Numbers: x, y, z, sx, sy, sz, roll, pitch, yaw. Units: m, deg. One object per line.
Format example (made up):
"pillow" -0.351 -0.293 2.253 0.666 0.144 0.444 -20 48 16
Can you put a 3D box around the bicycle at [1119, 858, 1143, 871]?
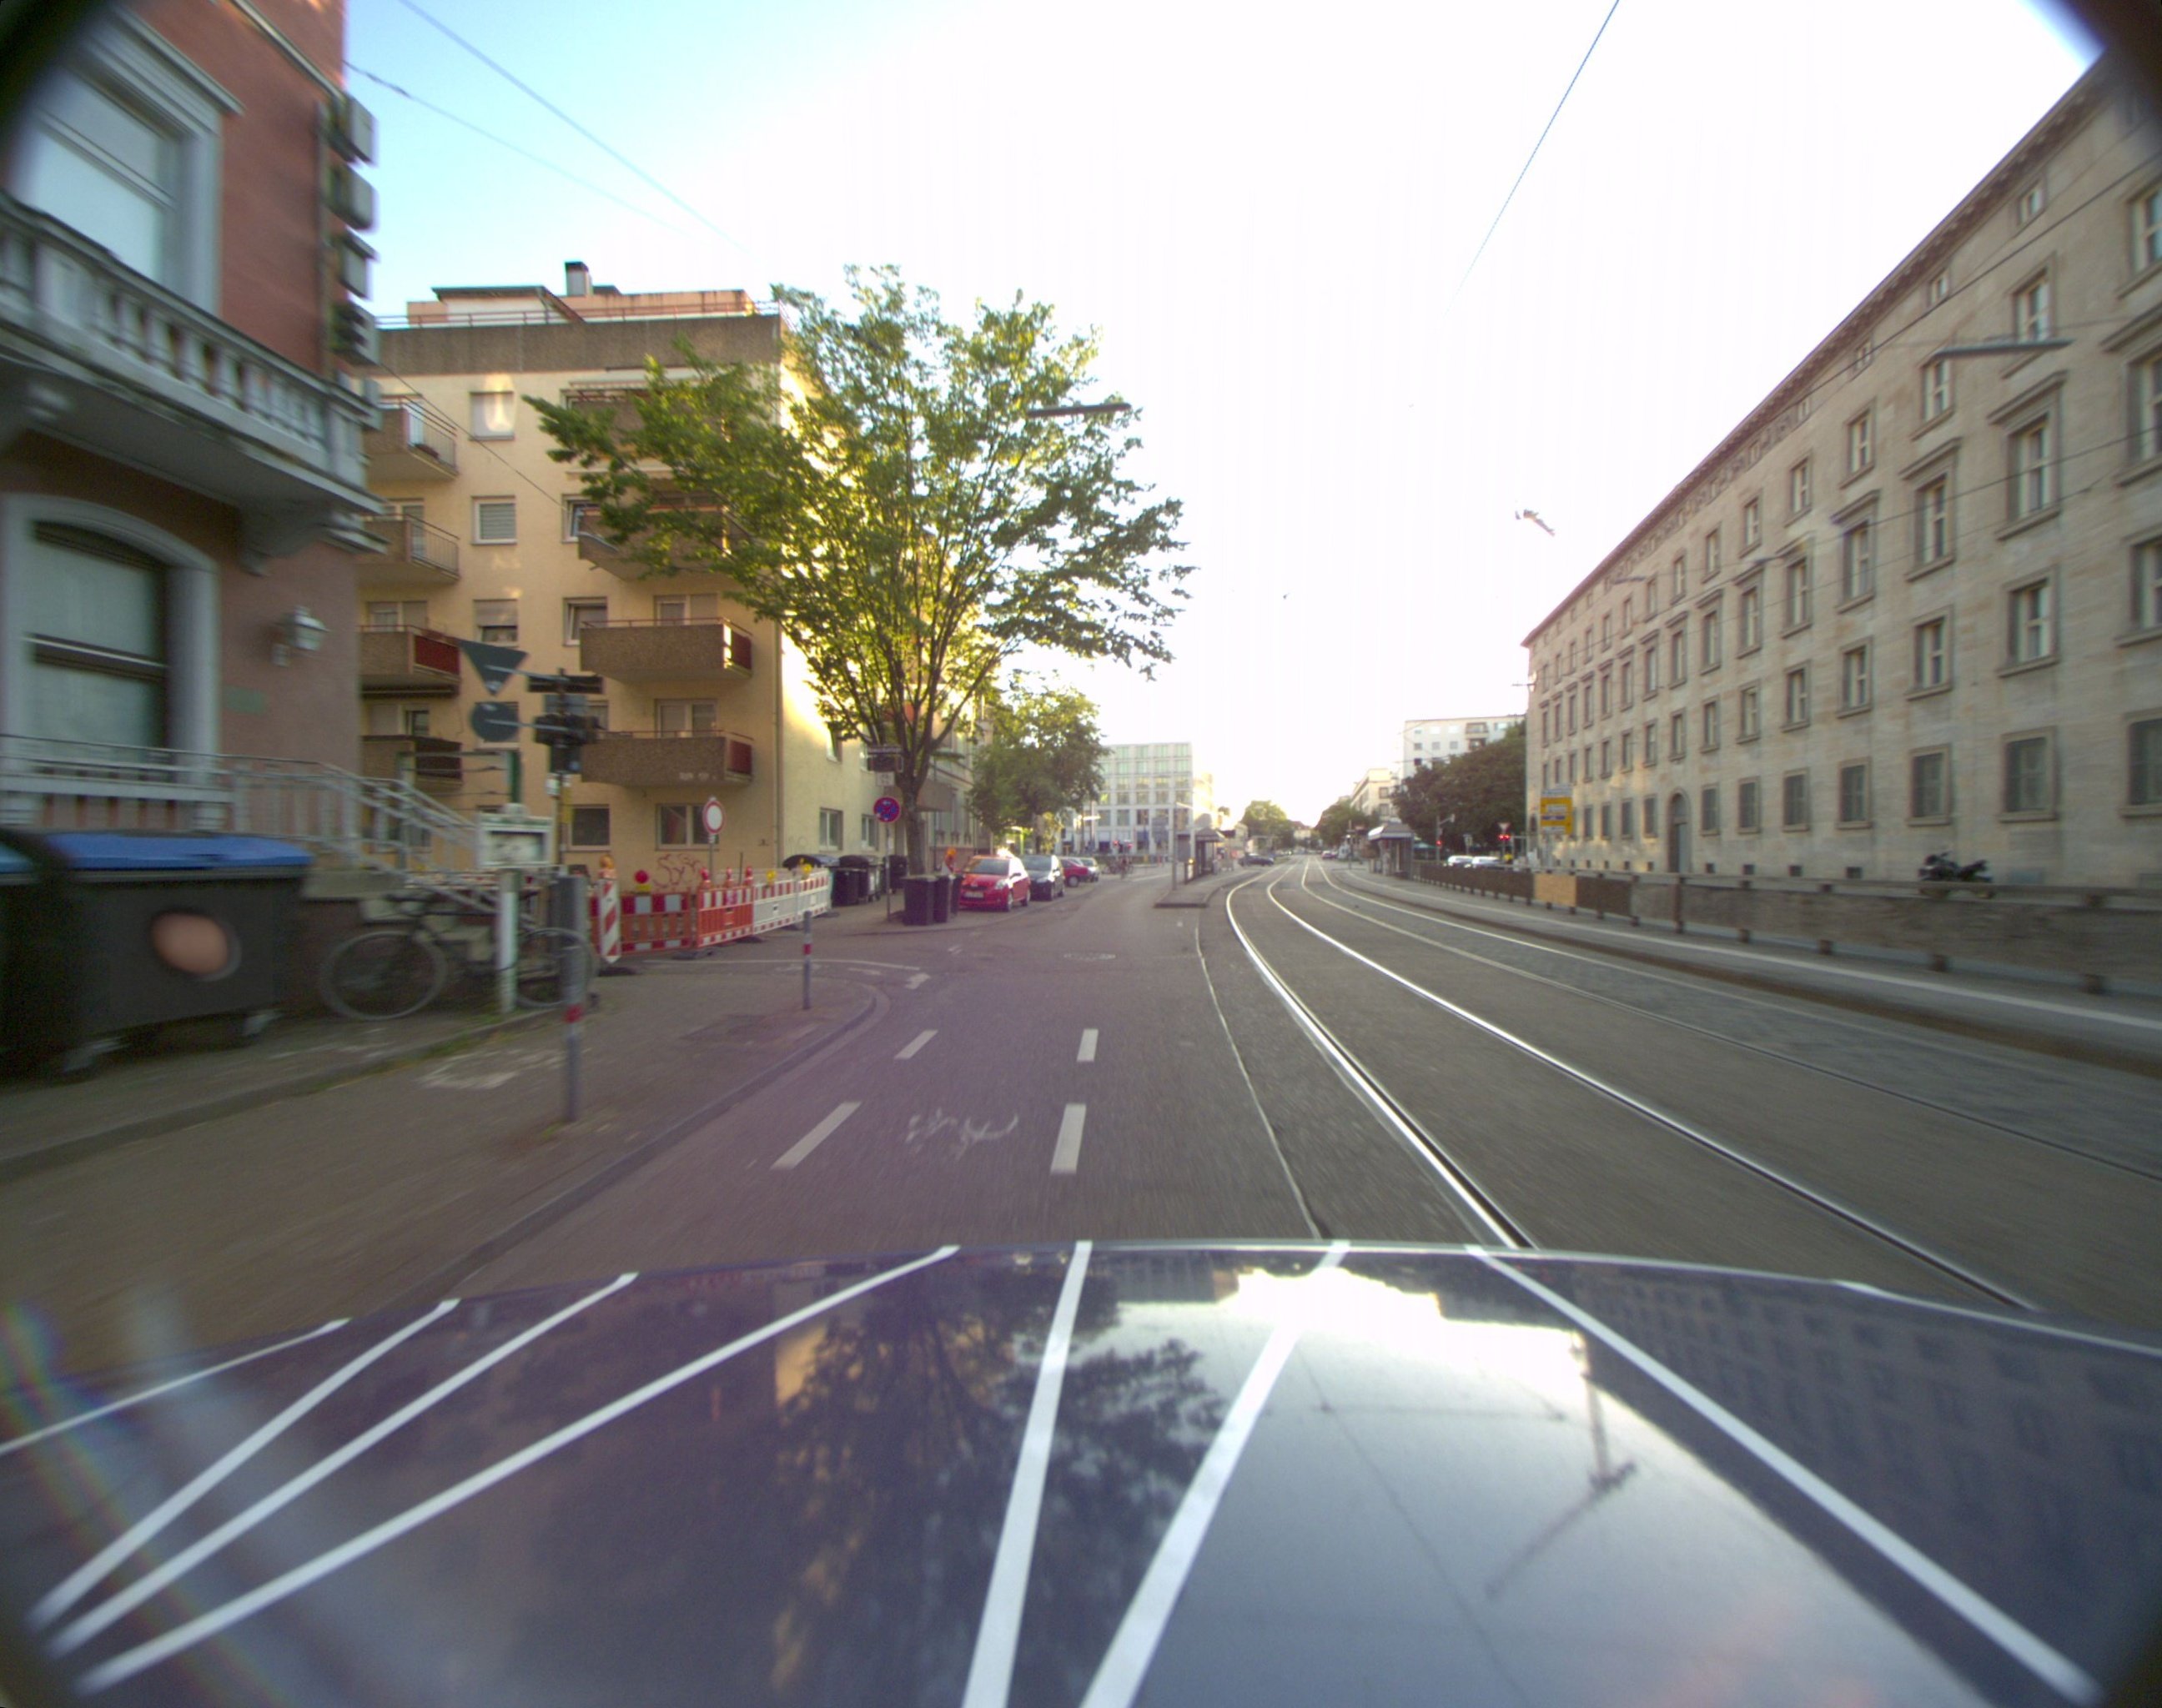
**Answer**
"bicycle" 4.280 0.874 65.005 1.860 1.068 0.745 -1 1 34

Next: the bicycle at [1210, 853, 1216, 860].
"bicycle" 19.007 0.349 109.344 0.539 1.045 1.763 -1 0 18

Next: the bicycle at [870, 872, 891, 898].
"bicycle" -7.033 1.069 26.664 0.414 0.859 1.225 -1 0 -2

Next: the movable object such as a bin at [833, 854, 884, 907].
"movable object such as a bin" -6.509 0.752 22.307 1.074 1.493 1.319 -1 1 2

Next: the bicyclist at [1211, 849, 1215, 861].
"bicyclist" 18.898 0.170 108.983 0.540 1.626 0.598 0 1 17

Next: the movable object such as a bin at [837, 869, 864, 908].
"movable object such as a bin" -6.479 0.964 21.346 0.555 1.041 0.571 -1 1 2

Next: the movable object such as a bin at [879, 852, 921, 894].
"movable object such as a bin" -6.748 0.695 28.360 1.116 1.493 1.482 -1 1 3

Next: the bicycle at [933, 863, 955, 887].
"bicycle" -6.449 0.967 35.796 0.652 1.068 1.556 -1 0 3

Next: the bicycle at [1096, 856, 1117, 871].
"bicycle" 2.030 0.762 60.894 1.528 1.156 0.745 -1 0 19

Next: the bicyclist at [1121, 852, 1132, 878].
"bicyclist" 2.837 0.706 47.567 0.609 1.626 0.597 -1 1 8

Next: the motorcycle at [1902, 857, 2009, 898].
"motorcycle" 25.070 0.639 21.877 0.699 1.068 2.657 0 1 17

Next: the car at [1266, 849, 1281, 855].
"car" 53.316 -0.470 210.170 3.802 1.639 1.866 -1 0 17

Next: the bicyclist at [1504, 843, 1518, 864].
"bicyclist" 29.732 -0.016 52.558 0.757 1.432 0.598 -1 1 17

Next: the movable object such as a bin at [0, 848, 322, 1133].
"movable object such as a bin" -5.996 0.720 4.702 1.143 1.493 1.399 -1 1 3

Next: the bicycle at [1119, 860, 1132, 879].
"bicycle" 2.796 0.953 47.202 0.609 1.108 2.087 -1 0 8

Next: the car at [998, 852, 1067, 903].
"car" -1.641 0.777 27.076 1.747 1.622 4.090 1 1 6

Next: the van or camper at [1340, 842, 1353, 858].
"van or camper" 48.044 -0.676 137.322 2.107 2.665 4.718 -1 -2 19

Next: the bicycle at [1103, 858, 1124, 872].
"bicycle" 2.681 0.911 61.779 1.553 1.068 0.745 -1 1 19

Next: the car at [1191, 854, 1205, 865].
"car" 17.371 0.771 112.965 1.815 1.513 4.813 -2 0 8

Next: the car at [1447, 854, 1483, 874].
"car" 28.802 0.744 57.085 1.645 1.419 4.237 -1 0 17

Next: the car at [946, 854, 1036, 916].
"car" -2.452 0.801 21.507 1.567 1.527 3.695 1 1 8

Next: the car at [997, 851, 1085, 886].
"car" -2.085 0.725 39.622 4.215 1.715 1.718 -1 1 -26

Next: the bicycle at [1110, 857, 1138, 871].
"bicycle" 3.639 0.852 64.148 2.232 1.125 0.745 0 1 19

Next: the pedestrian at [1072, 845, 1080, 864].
"pedestrian" -0.453 0.044 70.094 0.708 1.757 0.989 -1 1 2

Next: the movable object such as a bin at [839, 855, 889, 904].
"movable object such as a bin" -6.810 0.791 23.950 1.143 1.493 1.271 -1 1 3

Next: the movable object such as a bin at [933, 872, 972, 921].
"movable object such as a bin" -3.109 1.014 18.345 0.624 1.147 0.714 -1 1 -43

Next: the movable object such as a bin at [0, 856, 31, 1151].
"movable object such as a bin" -6.073 0.766 3.266 1.143 1.493 1.399 -1 1 3

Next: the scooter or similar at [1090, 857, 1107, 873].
"scooter or similar" 1.399 0.822 59.592 1.201 1.218 0.591 1 1 17

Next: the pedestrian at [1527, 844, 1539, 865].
"pedestrian" 37.285 0.060 62.692 0.696 1.700 0.647 0 1 20

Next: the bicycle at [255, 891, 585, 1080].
"bicycle" -5.183 0.970 6.145 1.922 1.259 0.600 0 1 -31

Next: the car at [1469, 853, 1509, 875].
"car" 27.236 0.634 50.823 1.645 1.419 3.709 -1 0 17

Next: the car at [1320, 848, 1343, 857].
"car" 47.541 -0.263 144.294 1.889 1.654 4.337 -1 0 -23

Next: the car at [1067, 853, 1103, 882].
"car" 0.273 0.783 45.620 1.683 1.544 4.002 2 1 6

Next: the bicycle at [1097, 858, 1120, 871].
"bicycle" 2.345 0.904 64.014 1.757 1.068 0.745 -1 1 19

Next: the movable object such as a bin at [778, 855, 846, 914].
"movable object such as a bin" -7.132 0.776 20.250 1.143 1.493 1.598 -1 1 3

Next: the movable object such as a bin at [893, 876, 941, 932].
"movable object such as a bin" -3.479 1.055 16.166 0.794 1.147 0.589 -1 1 16

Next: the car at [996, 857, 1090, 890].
"car" -1.821 0.910 36.888 4.216 1.445 1.642 -1 0 -27

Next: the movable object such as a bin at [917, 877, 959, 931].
"movable object such as a bin" -3.158 1.101 16.833 0.713 1.147 0.589 -1 1 16

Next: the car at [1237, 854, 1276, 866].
"car" 20.676 0.705 89.536 4.175 1.412 1.696 -1 1 -14

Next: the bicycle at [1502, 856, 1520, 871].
"bicycle" 29.684 0.640 52.458 0.742 1.011 1.763 -1 0 17

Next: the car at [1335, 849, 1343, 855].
"car" 61.515 -0.386 181.296 1.719 1.422 3.815 -1 0 20
